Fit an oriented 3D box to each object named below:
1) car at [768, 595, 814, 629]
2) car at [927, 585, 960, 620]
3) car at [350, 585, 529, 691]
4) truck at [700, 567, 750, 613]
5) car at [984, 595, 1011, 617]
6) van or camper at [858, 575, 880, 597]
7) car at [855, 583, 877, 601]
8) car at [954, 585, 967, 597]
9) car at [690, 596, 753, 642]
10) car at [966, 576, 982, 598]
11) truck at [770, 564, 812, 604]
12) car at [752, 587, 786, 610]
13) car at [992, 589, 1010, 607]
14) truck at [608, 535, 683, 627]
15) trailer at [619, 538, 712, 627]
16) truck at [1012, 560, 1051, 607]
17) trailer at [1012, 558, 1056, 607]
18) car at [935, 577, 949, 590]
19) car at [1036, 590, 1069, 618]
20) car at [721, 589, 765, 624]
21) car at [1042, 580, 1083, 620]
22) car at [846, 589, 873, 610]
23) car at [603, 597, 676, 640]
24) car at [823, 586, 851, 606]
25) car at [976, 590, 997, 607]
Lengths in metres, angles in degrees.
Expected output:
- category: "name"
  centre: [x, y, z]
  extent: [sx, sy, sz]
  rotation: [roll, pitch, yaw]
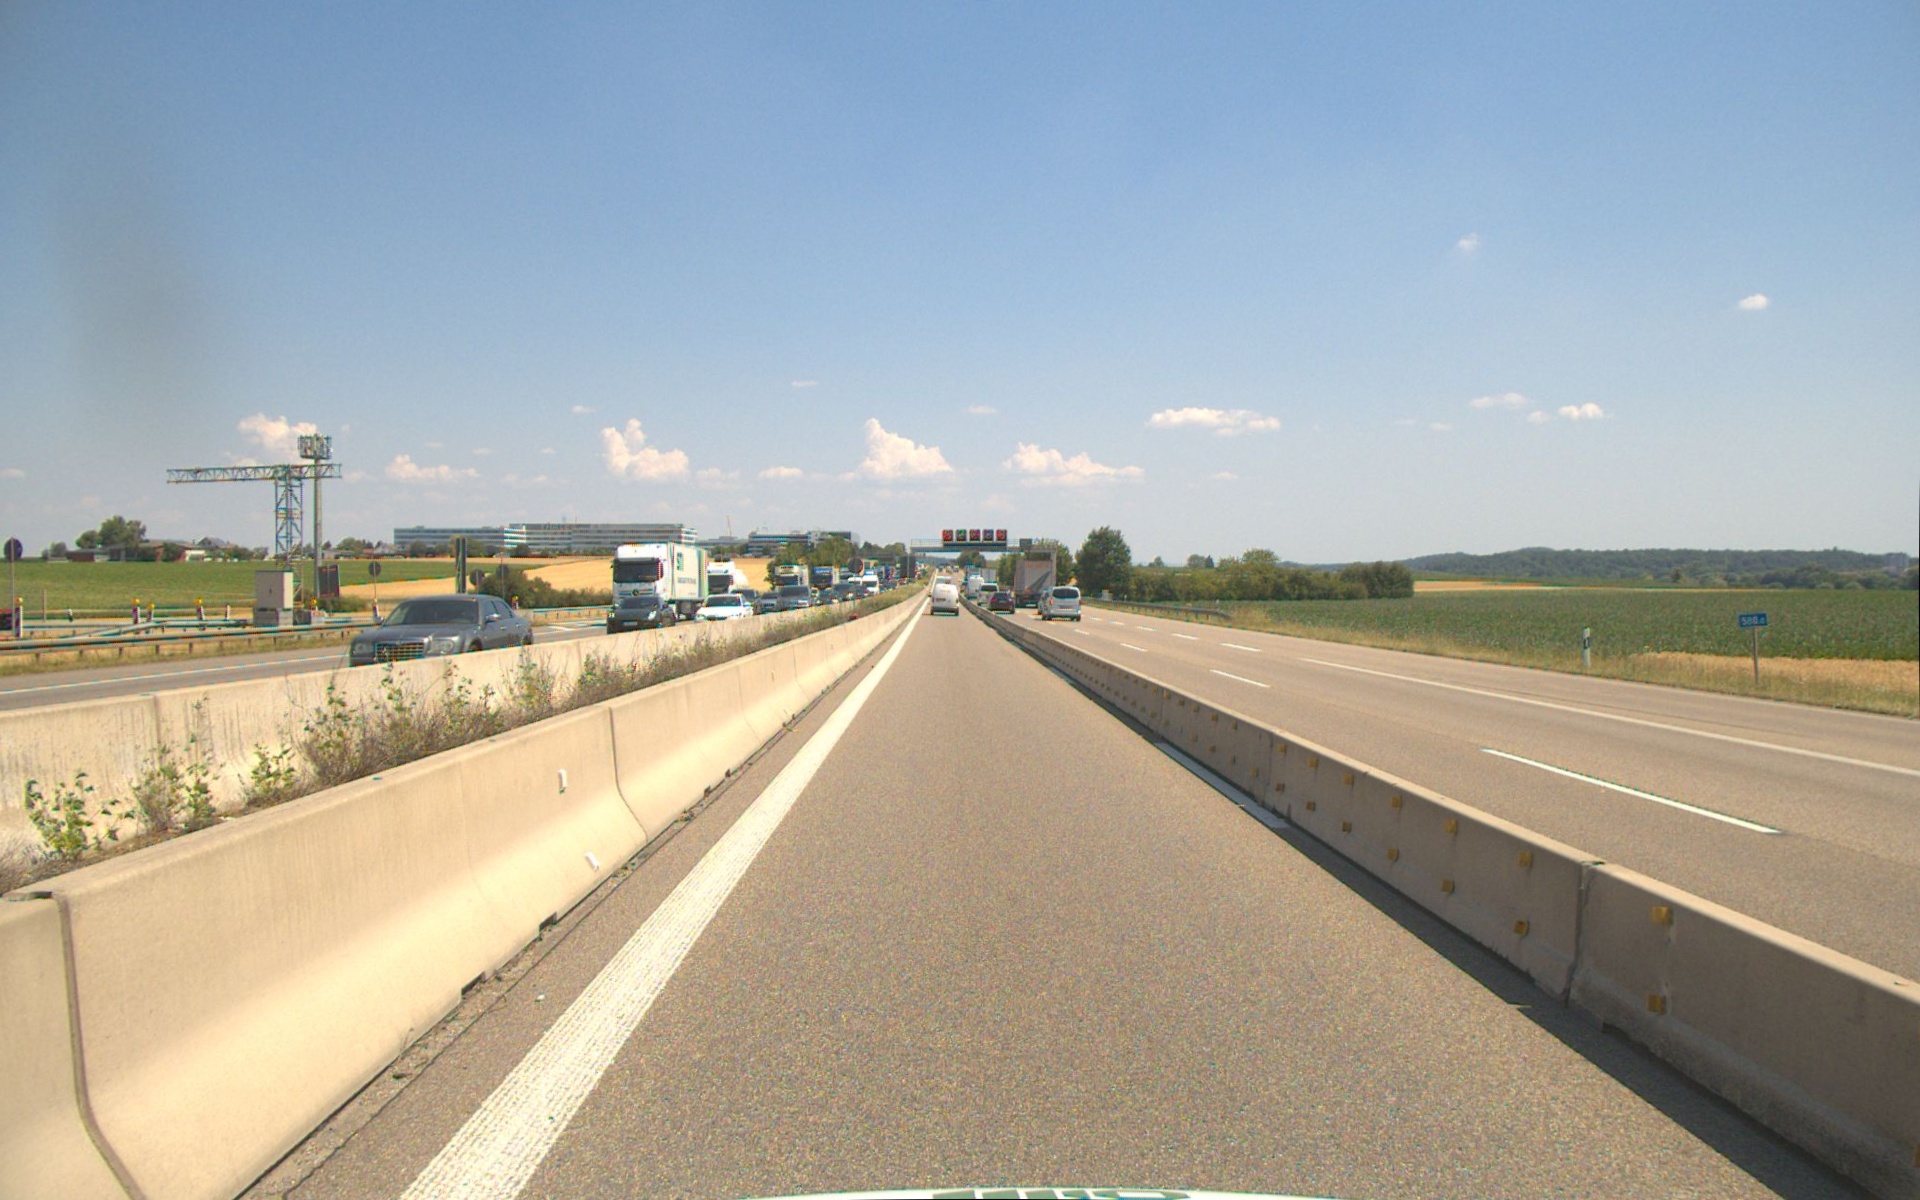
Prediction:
- category: "car"
  centre: [-8.377, 0.577, 82.513]
  extent: [1.852, 1.645, 4.820]
  rotation: [1, 0, -1]
- category: "car"
  centre: [-0.990, 0.121, 100.107]
  extent: [1.953, 2.049, 3.999]
  rotation: [1, 0, -1]
- category: "car"
  centre: [-8.200, 0.568, 26.391]
  extent: [1.622, 1.545, 3.999]
  rotation: [1, 0, -1]
- category: "truck"
  centre: [-20.985, -0.939, 148.510]
  extent: [2.841, 3.842, 13.284]
  rotation: [-2, 1, -2]
- category: "car"
  centre: [2.542, 0.411, 112.847]
  extent: [1.737, 1.472, 3.999]
  rotation: [1, 0, -1]
- category: "van or camper"
  centre: [-9.927, -1.530, 180.809]
  extent: [1.994, 2.260, 7.207]
  rotation: [1, 1, -1]
- category: "car"
  centre: [-8.671, -0.765, 152.990]
  extent: [1.746, 1.617, 4.540]
  rotation: [1, 1, -1]
- category: "car"
  centre: [0.077, -1.429, 259.299]
  extent: [1.953, 1.867, 3.999]
  rotation: [1, 0, -1]
- category: "car"
  centre: [-8.415, 0.632, 58.598]
  extent: [1.640, 1.545, 4.507]
  rotation: [1, 0, -1]
- category: "car"
  centre: [1.542, -1.426, 187.638]
  extent: [1.737, 2.434, 3.999]
  rotation: [1, 0, -1]
- category: "truck"
  centre: [-16.523, -1.605, 162.878]
  extent: [2.738, 3.672, 13.288]
  rotation: [-2, 1, 0]
- category: "car"
  centre: [-12.864, -0.100, 111.621]
  extent: [1.809, 1.508, 4.921]
  rotation: [0, 1, -1]
- category: "car"
  centre: [4.863, -0.205, 195.267]
  extent: [1.953, 2.049, 3.999]
  rotation: [1, 0, -1]
- category: "truck"
  centre: [-15.941, -0.963, 84.062]
  extent: [2.812, 4.451, 4.902]
  rotation: [-2, 0, -1]
- category: "trailer"
  centre: [-16.045, -0.937, 91.159]
  extent: [2.834, 4.451, 12.991]
  rotation: [-2, 0, -1]
- category: "truck"
  centre: [6.336, -1.452, 147.314]
  extent: [3.204, 4.036, 4.911]
  rotation: [1, 0, -1]
- category: "trailer"
  centre: [6.379, -1.448, 143.256]
  extent: [3.211, 4.036, 9.111]
  rotation: [1, 0, -1]
- category: "car"
  centre: [-2.669, -2.499, 246.133]
  extent: [1.953, 1.867, 3.999]
  rotation: [1, 0, -1]
- category: "car"
  centre: [6.257, 0.281, 112.201]
  extent: [1.953, 1.825, 3.999]
  rotation: [1, 0, -1]
- category: "car"
  centre: [-12.077, 0.343, 92.229]
  extent: [1.953, 1.847, 3.999]
  rotation: [1, 0, -1]
- category: "car"
  centre: [5.750, -0.013, 92.912]
  extent: [1.953, 2.157, 3.999]
  rotation: [1, 0, -1]
- category: "car"
  centre: [-7.842, -0.033, 129.024]
  extent: [1.806, 1.597, 5.344]
  rotation: [1, 1, -1]
- category: "car"
  centre: [-11.795, 0.643, 61.127]
  extent: [1.775, 1.512, 4.962]
  rotation: [1, 0, -1]
- category: "car"
  centre: [-8.445, -0.280, 114.032]
  extent: [1.622, 1.375, 4.266]
  rotation: [1, 1, -1]
- category: "car"
  centre: [2.320, -0.133, 146.902]
  extent: [1.737, 1.472, 3.999]
  rotation: [1, 0, -1]
